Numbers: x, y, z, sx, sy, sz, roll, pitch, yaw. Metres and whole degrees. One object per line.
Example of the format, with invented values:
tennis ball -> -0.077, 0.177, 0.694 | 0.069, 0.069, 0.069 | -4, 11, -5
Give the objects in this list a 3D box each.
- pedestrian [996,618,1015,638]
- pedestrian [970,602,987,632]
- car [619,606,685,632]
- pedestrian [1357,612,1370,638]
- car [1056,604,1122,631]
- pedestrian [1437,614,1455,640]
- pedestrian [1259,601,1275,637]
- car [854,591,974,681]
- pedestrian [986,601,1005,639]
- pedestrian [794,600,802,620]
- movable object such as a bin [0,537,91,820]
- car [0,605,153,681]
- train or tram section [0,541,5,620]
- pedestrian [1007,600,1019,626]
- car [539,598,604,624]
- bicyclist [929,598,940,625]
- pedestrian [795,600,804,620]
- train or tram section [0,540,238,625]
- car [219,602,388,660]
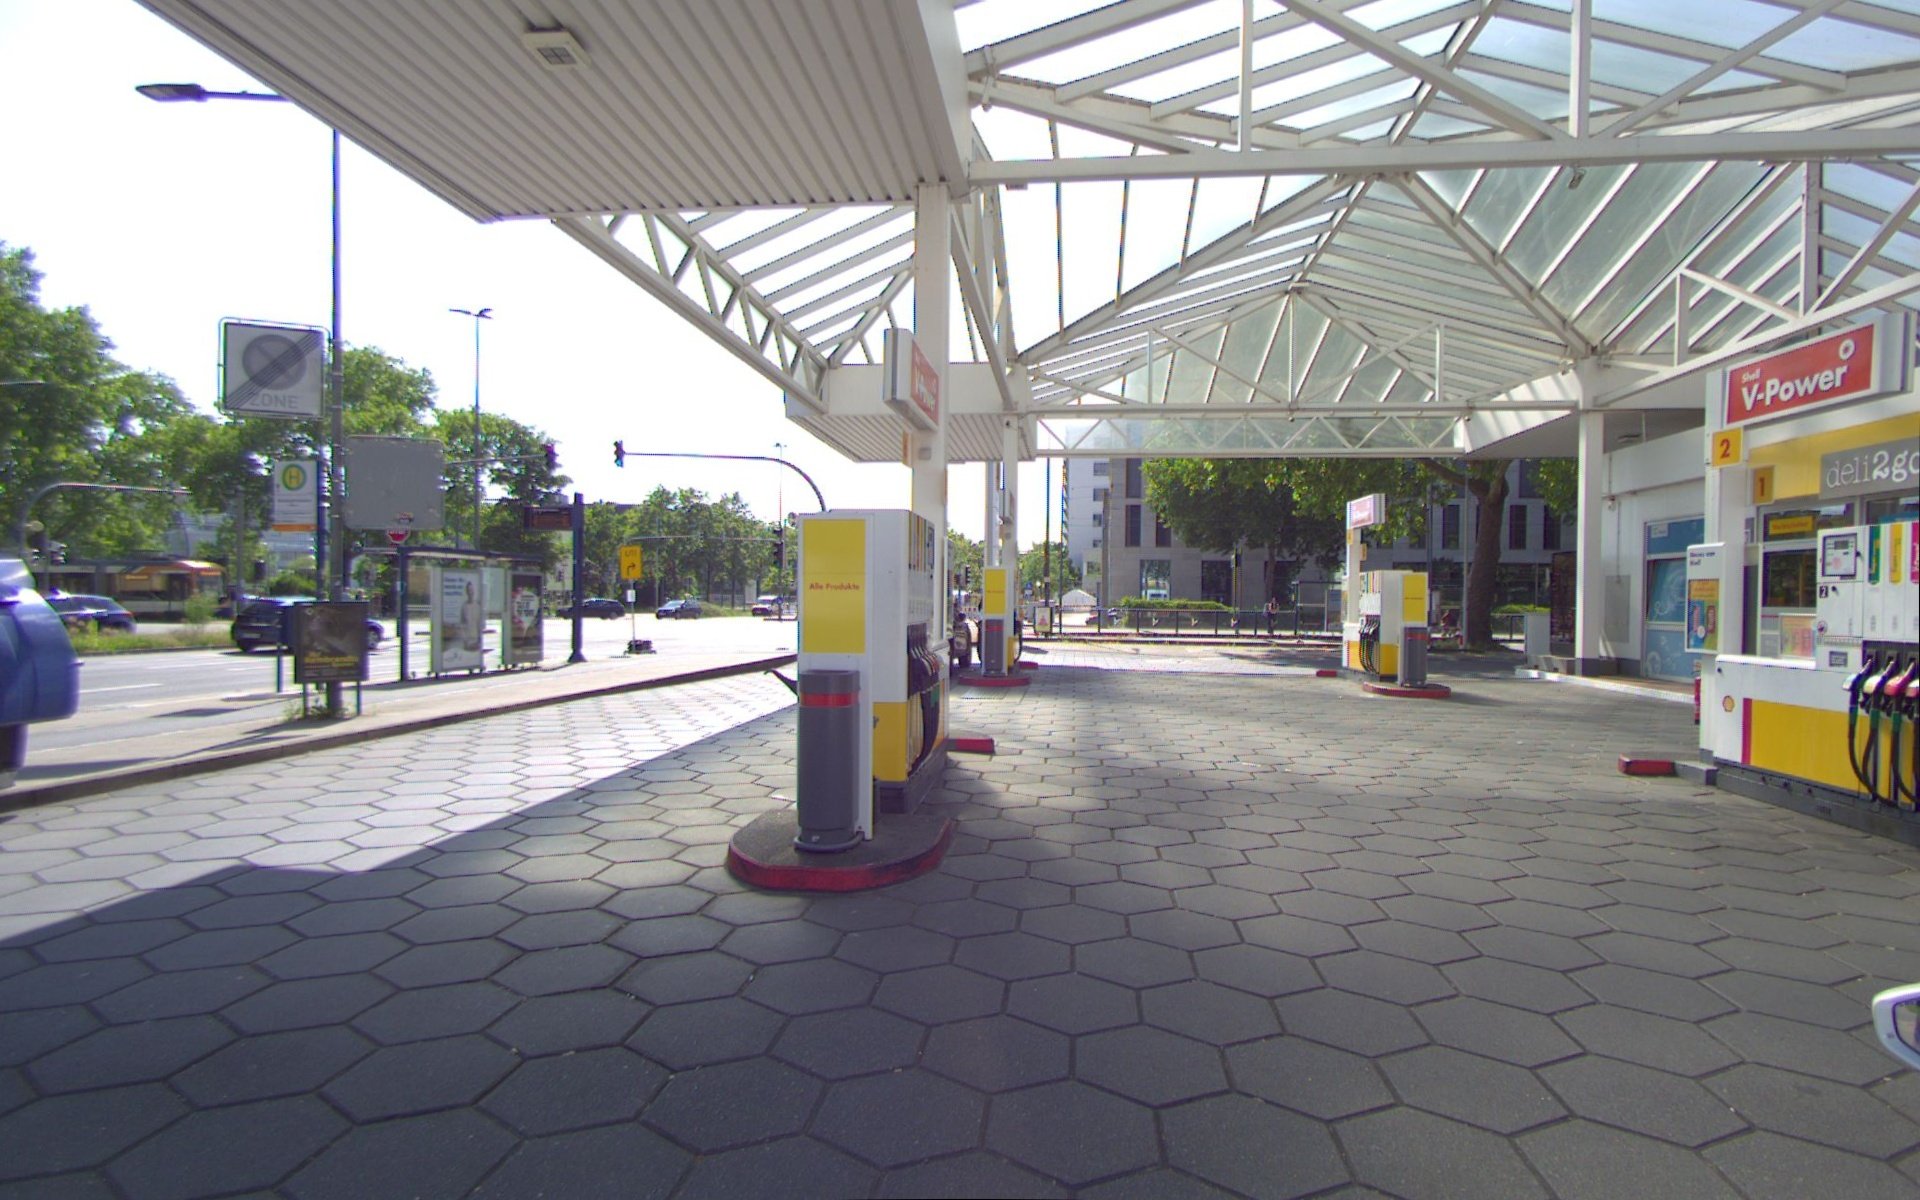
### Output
pedestrian -> 2.089, 1.285, 46.048 | 0.688, 0.892, 0.496 | 1, 0, -44
pedestrian -> 1.063, 0.950, 56.851 | 0.498, 1.705, 0.926 | 0, 0, -35
car -> -22.550, 1.392, 73.683 | 1.972, 1.829, 4.186 | -2, -1, 43
pedestrian -> 18.210, 1.109, 45.336 | 0.490, 1.153, 0.524 | 1, 0, 13
car -> 7.998, 1.075, 62.703 | 3.920, 1.573, 1.703 | 1, 0, 1
pedestrian -> 21.755, 1.213, 44.994 | 0.617, 1.153, 0.524 | 1, 0, 13
pedestrian -> 13.963, 0.854, 45.683 | 0.574, 1.613, 0.670 | 1, 2, 6
car -> -0.778, 0.662, 19.492 | 1.714, 1.552, 4.002 | -1, -1, 6
pedestrian -> 1.609, 0.880, 45.500 | 0.496, 1.705, 0.774 | 1, 0, 45
pedestrian -> -12.337, 0.768, 76.503 | 0.554, 1.488, 0.513 | 1, 0, -3
movable object such as a bin -> -6.481, 0.491, 6.037 | 1.315, 1.710, 1.338 | -2, -1, 8
car -> -23.439, 1.031, 25.431 | 1.959, 1.792, 4.393 | 1, 0, 13
train or tram section -> -63.033, -1.157, 57.669 | 15.603, 4.549, 2.330 | 0, 0, 6
pedestrian -> 3.285, 0.807, 62.768 | 0.639, 1.561, 0.503 | 1, 0, 16
car -> -26.318, 0.746, 68.181 | 3.936, 1.727, 1.992 | 1, 0, -18
bicyclist -> -1.538, 0.709, 61.083 | 0.627, 1.601, 1.173 | 1, 0, -2
pedestrian -> -12.371, 0.758, 77.496 | 0.554, 1.488, 0.513 | 1, 0, -2
train or tram section -> -47.998, -0.958, 56.042 | 14.641, 4.549, 2.330 | 0, 0, 6
car -> -17.783, 0.798, 27.455 | 1.651, 1.385, 4.004 | 2, 0, 6
